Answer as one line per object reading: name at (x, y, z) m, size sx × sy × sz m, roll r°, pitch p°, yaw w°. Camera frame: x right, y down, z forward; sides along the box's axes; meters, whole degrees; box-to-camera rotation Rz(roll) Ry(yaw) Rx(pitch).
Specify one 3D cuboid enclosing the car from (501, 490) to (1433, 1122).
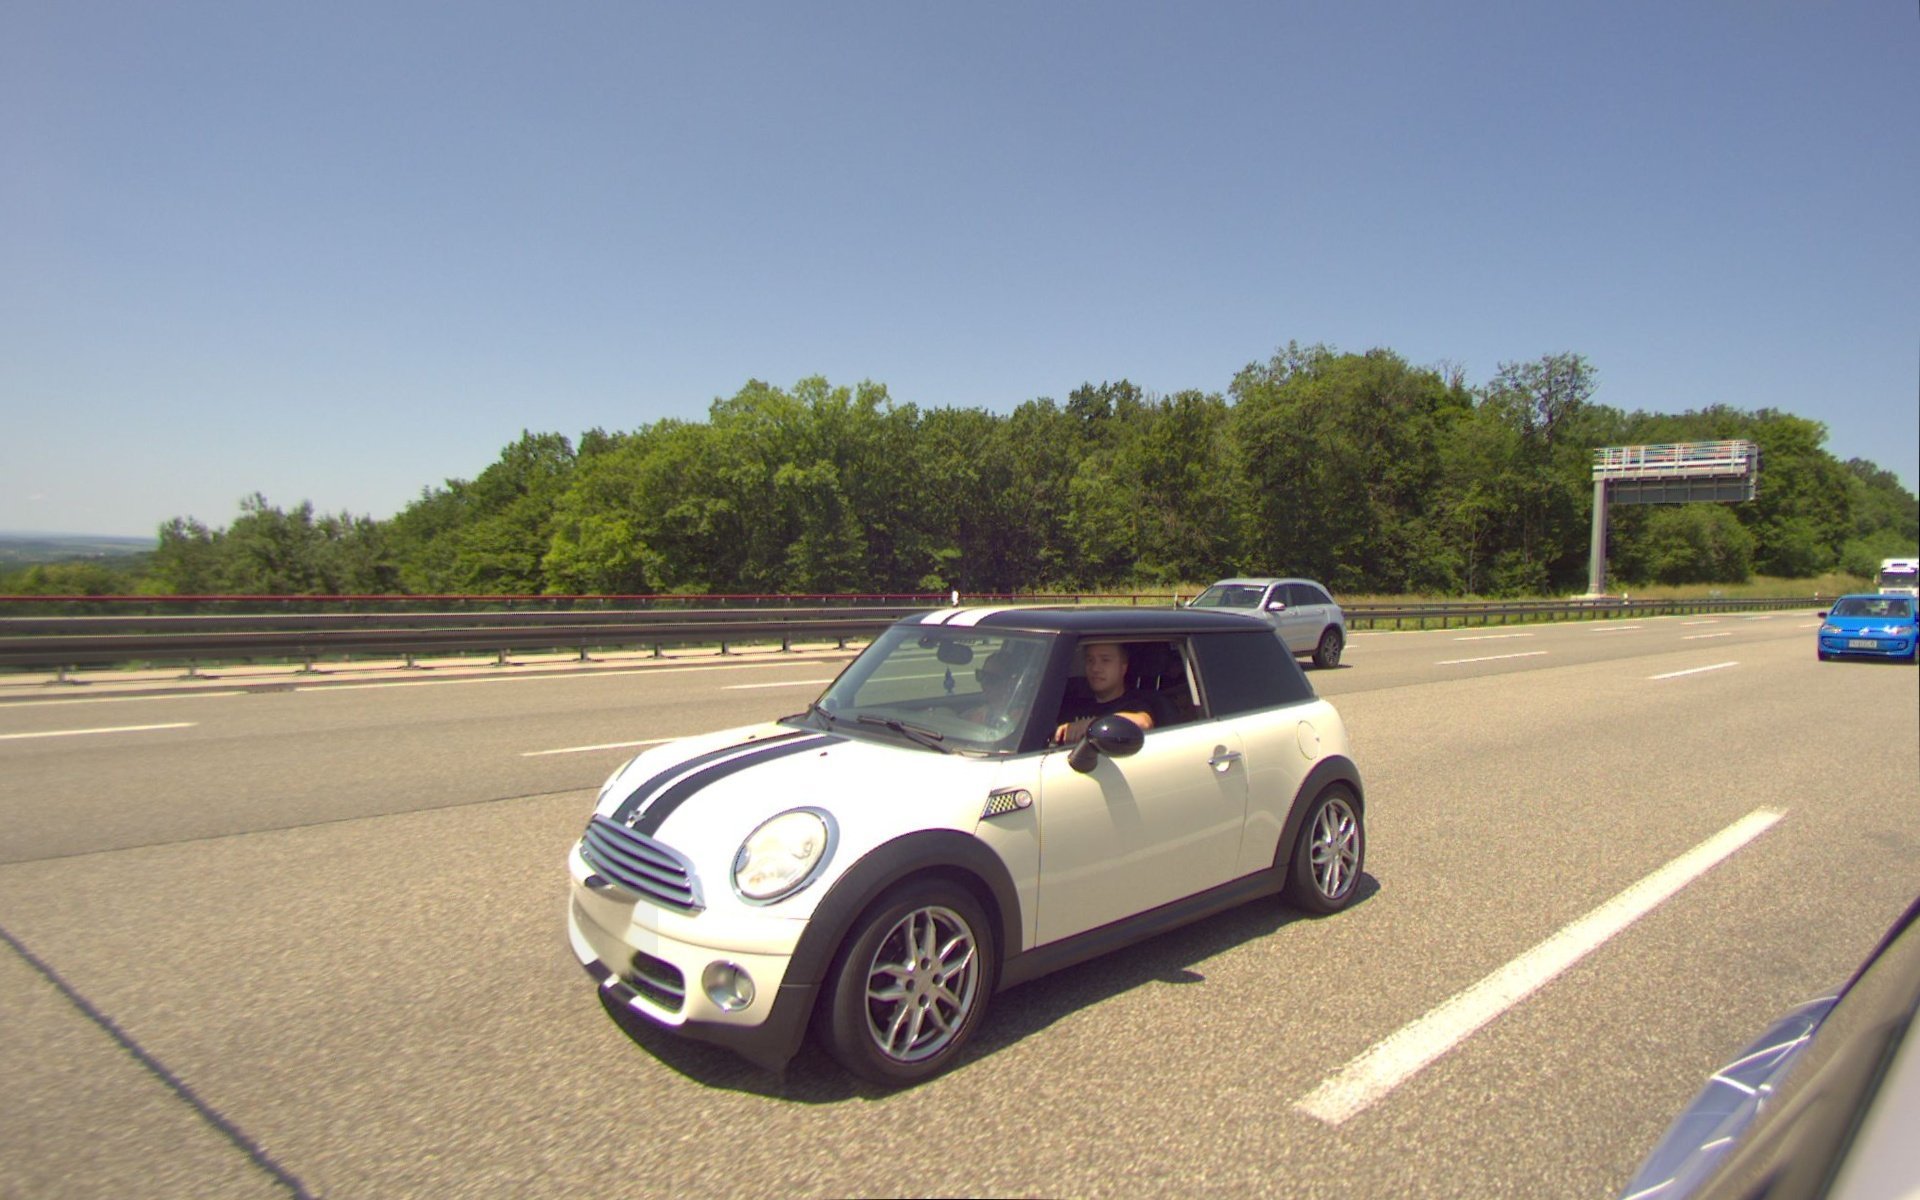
car at (0.287, 0.593, 4.542) m, size 3.930 × 1.572 × 1.843 m, roll 1°, pitch -4°, yaw -41°

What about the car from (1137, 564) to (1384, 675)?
car at (5.573, 0.306, 18.353) m, size 5.147 × 1.753 × 1.804 m, roll 0°, pitch 0°, yaw -41°

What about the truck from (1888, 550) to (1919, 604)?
truck at (78.784, -1.781, 82.930) m, size 10.775 × 4.213 × 2.727 m, roll 1°, pitch 0°, yaw -41°

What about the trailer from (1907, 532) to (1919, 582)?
trailer at (84.748, -3.648, 87.995) m, size 8.235 × 4.121 × 2.584 m, roll 1°, pitch 0°, yaw -41°

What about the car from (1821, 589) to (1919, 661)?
car at (20.628, 0.488, 22.416) m, size 3.930 × 1.428 × 1.741 m, roll 0°, pitch 2°, yaw -40°
